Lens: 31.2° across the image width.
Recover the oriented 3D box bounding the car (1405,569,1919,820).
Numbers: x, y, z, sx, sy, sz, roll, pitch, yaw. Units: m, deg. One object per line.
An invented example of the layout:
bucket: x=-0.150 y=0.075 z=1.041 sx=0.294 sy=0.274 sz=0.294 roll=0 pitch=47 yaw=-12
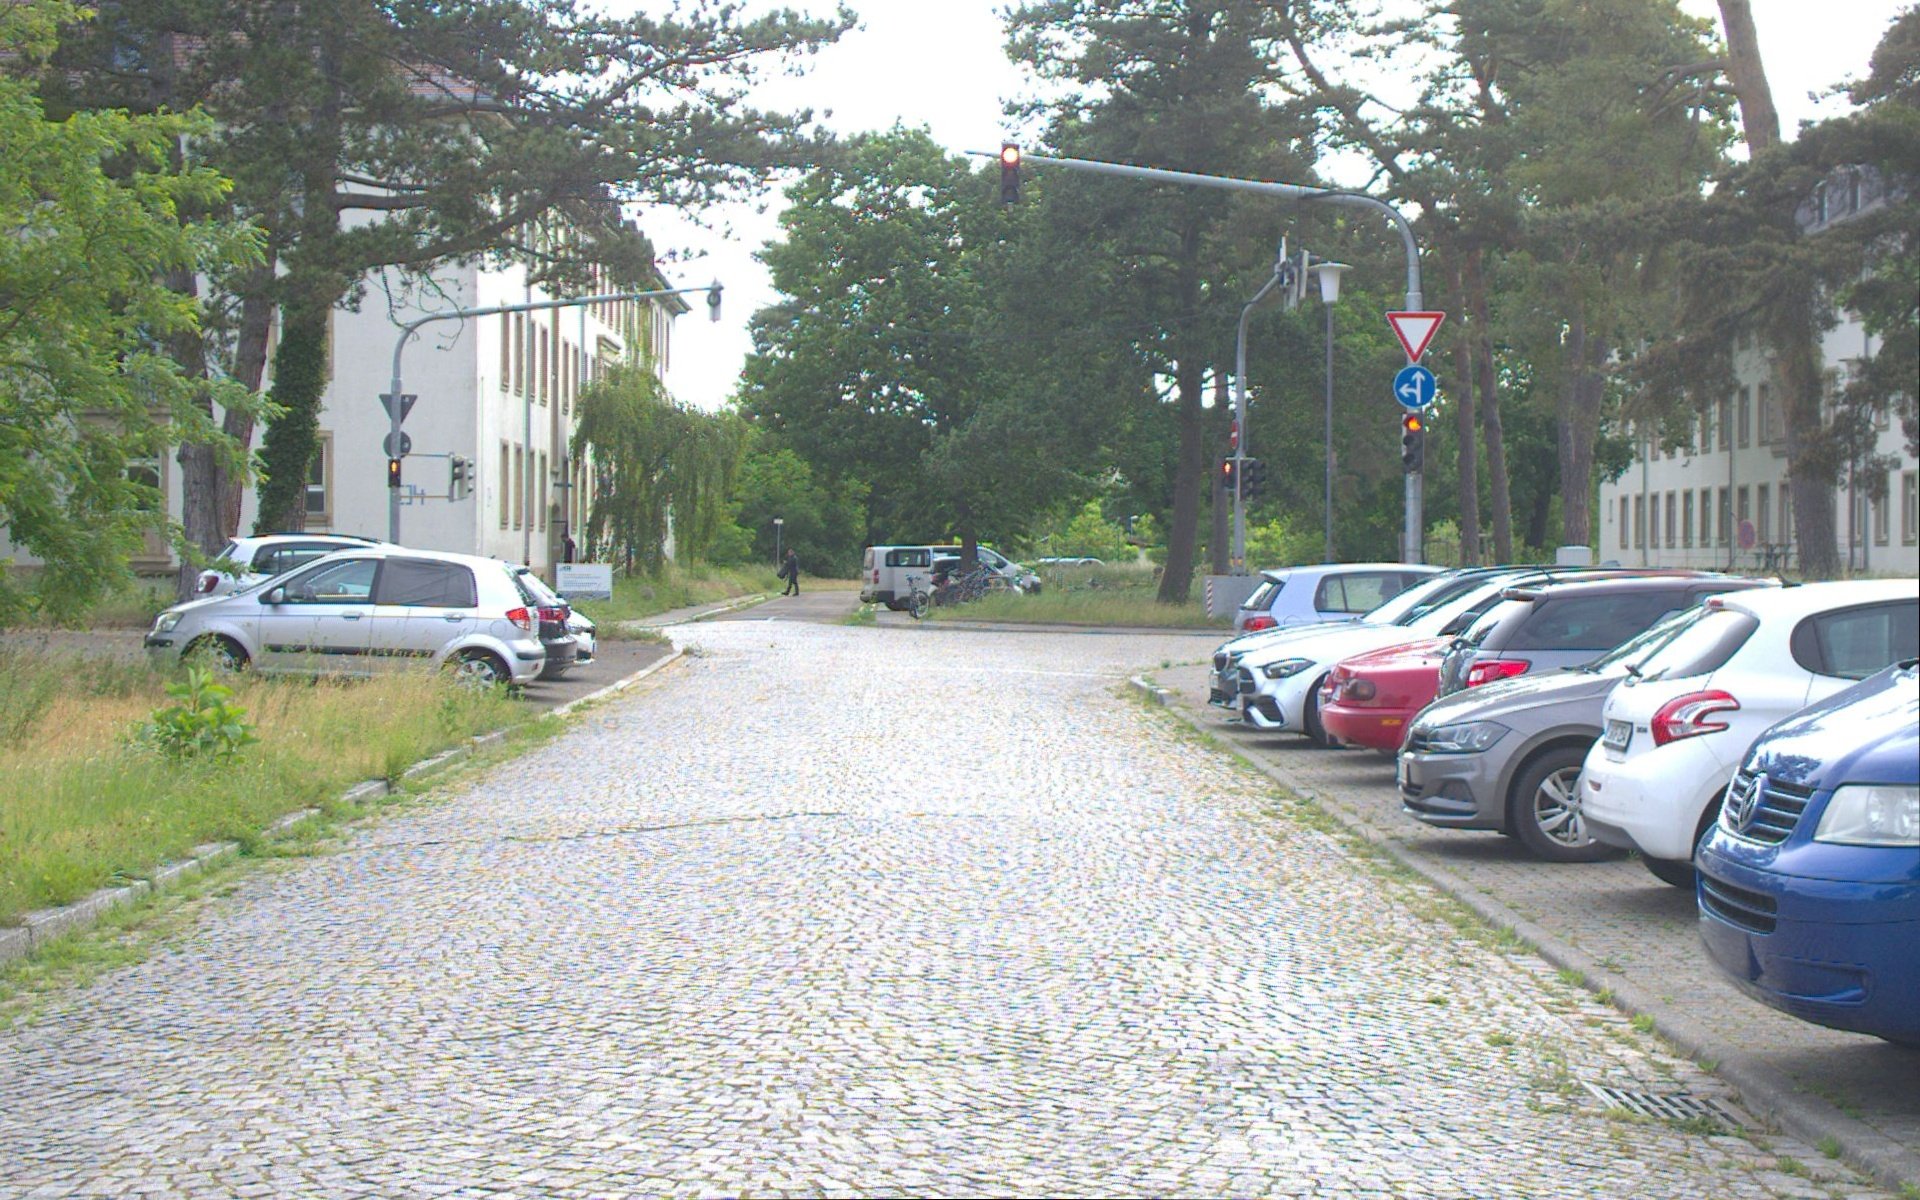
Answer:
car: x=4.677 y=0.560 z=21.601 sx=3.505 sy=1.482 sz=1.743 roll=0 pitch=1 yaw=-1

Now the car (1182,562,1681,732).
car: x=4.318 y=0.404 z=31.696 sx=4.227 sy=1.474 sz=1.710 roll=0 pitch=1 yaw=-11

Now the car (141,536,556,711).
car: x=-5.860 y=0.214 z=33.249 sx=3.720 sy=1.476 sz=1.673 roll=3 pitch=1 yaw=-3

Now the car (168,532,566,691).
car: x=-6.603 y=0.106 z=38.645 sx=4.297 sy=1.726 sz=1.653 roll=0 pitch=1 yaw=-6

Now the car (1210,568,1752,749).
car: x=4.338 y=0.463 z=28.929 sx=4.184 sy=1.432 sz=1.756 roll=0 pitch=1 yaw=-8

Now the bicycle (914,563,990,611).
bicycle: x=-0.208 y=-0.345 z=89.833 sx=1.881 sy=1.167 sz=0.665 roll=2 pitch=0 yaw=-6

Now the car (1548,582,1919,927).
car: x=4.694 y=0.662 z=15.830 sx=3.653 sy=1.474 sz=1.766 roll=0 pitch=1 yaw=-1

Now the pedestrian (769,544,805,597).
pedestrian: x=-6.590 y=-1.116 z=131.007 sx=1.239 sy=1.952 sz=1.121 roll=2 pitch=0 yaw=-6

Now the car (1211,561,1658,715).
car: x=4.687 y=0.355 z=34.252 sx=4.134 sy=1.458 sz=1.634 roll=0 pitch=1 yaw=-6

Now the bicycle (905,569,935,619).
bicycle: x=-0.950 y=-0.151 z=81.698 sx=0.663 sy=1.167 sz=1.888 roll=2 pitch=0 yaw=0

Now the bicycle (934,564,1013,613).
bicycle: x=0.348 y=-0.293 z=86.340 sx=1.881 sy=1.167 sz=0.665 roll=2 pitch=0 yaw=-6

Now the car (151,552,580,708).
car: x=-6.130 y=0.287 z=35.845 sx=4.297 sy=1.548 sz=1.812 roll=0 pitch=1 yaw=-6

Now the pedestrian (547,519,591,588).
pedestrian: x=-11.240 y=-1.335 z=98.760 sx=1.074 sy=1.952 sz=1.121 roll=2 pitch=0 yaw=-1

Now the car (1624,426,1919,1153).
car: x=4.640 y=0.494 z=10.518 sx=4.795 sy=1.997 sz=1.966 roll=0 pitch=1 yaw=-2

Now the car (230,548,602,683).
car: x=-6.450 y=0.160 z=41.101 sx=4.297 sy=1.548 sz=1.812 roll=0 pitch=1 yaw=-6

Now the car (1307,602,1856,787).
car: x=4.314 y=0.644 z=24.226 sx=3.587 sy=1.218 sz=1.628 roll=0 pitch=1 yaw=1

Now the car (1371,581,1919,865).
car: x=4.415 y=0.630 z=18.733 sx=4.130 sy=1.442 sz=1.766 roll=0 pitch=1 yaw=0

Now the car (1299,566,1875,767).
car: x=4.783 y=0.484 z=26.570 sx=4.104 sy=1.471 sz=1.685 roll=0 pitch=1 yaw=-2

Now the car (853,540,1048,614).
car: x=-0.293 y=-0.682 z=101.138 sx=5.374 sy=2.094 sz=2.179 roll=0 pitch=1 yaw=-13
